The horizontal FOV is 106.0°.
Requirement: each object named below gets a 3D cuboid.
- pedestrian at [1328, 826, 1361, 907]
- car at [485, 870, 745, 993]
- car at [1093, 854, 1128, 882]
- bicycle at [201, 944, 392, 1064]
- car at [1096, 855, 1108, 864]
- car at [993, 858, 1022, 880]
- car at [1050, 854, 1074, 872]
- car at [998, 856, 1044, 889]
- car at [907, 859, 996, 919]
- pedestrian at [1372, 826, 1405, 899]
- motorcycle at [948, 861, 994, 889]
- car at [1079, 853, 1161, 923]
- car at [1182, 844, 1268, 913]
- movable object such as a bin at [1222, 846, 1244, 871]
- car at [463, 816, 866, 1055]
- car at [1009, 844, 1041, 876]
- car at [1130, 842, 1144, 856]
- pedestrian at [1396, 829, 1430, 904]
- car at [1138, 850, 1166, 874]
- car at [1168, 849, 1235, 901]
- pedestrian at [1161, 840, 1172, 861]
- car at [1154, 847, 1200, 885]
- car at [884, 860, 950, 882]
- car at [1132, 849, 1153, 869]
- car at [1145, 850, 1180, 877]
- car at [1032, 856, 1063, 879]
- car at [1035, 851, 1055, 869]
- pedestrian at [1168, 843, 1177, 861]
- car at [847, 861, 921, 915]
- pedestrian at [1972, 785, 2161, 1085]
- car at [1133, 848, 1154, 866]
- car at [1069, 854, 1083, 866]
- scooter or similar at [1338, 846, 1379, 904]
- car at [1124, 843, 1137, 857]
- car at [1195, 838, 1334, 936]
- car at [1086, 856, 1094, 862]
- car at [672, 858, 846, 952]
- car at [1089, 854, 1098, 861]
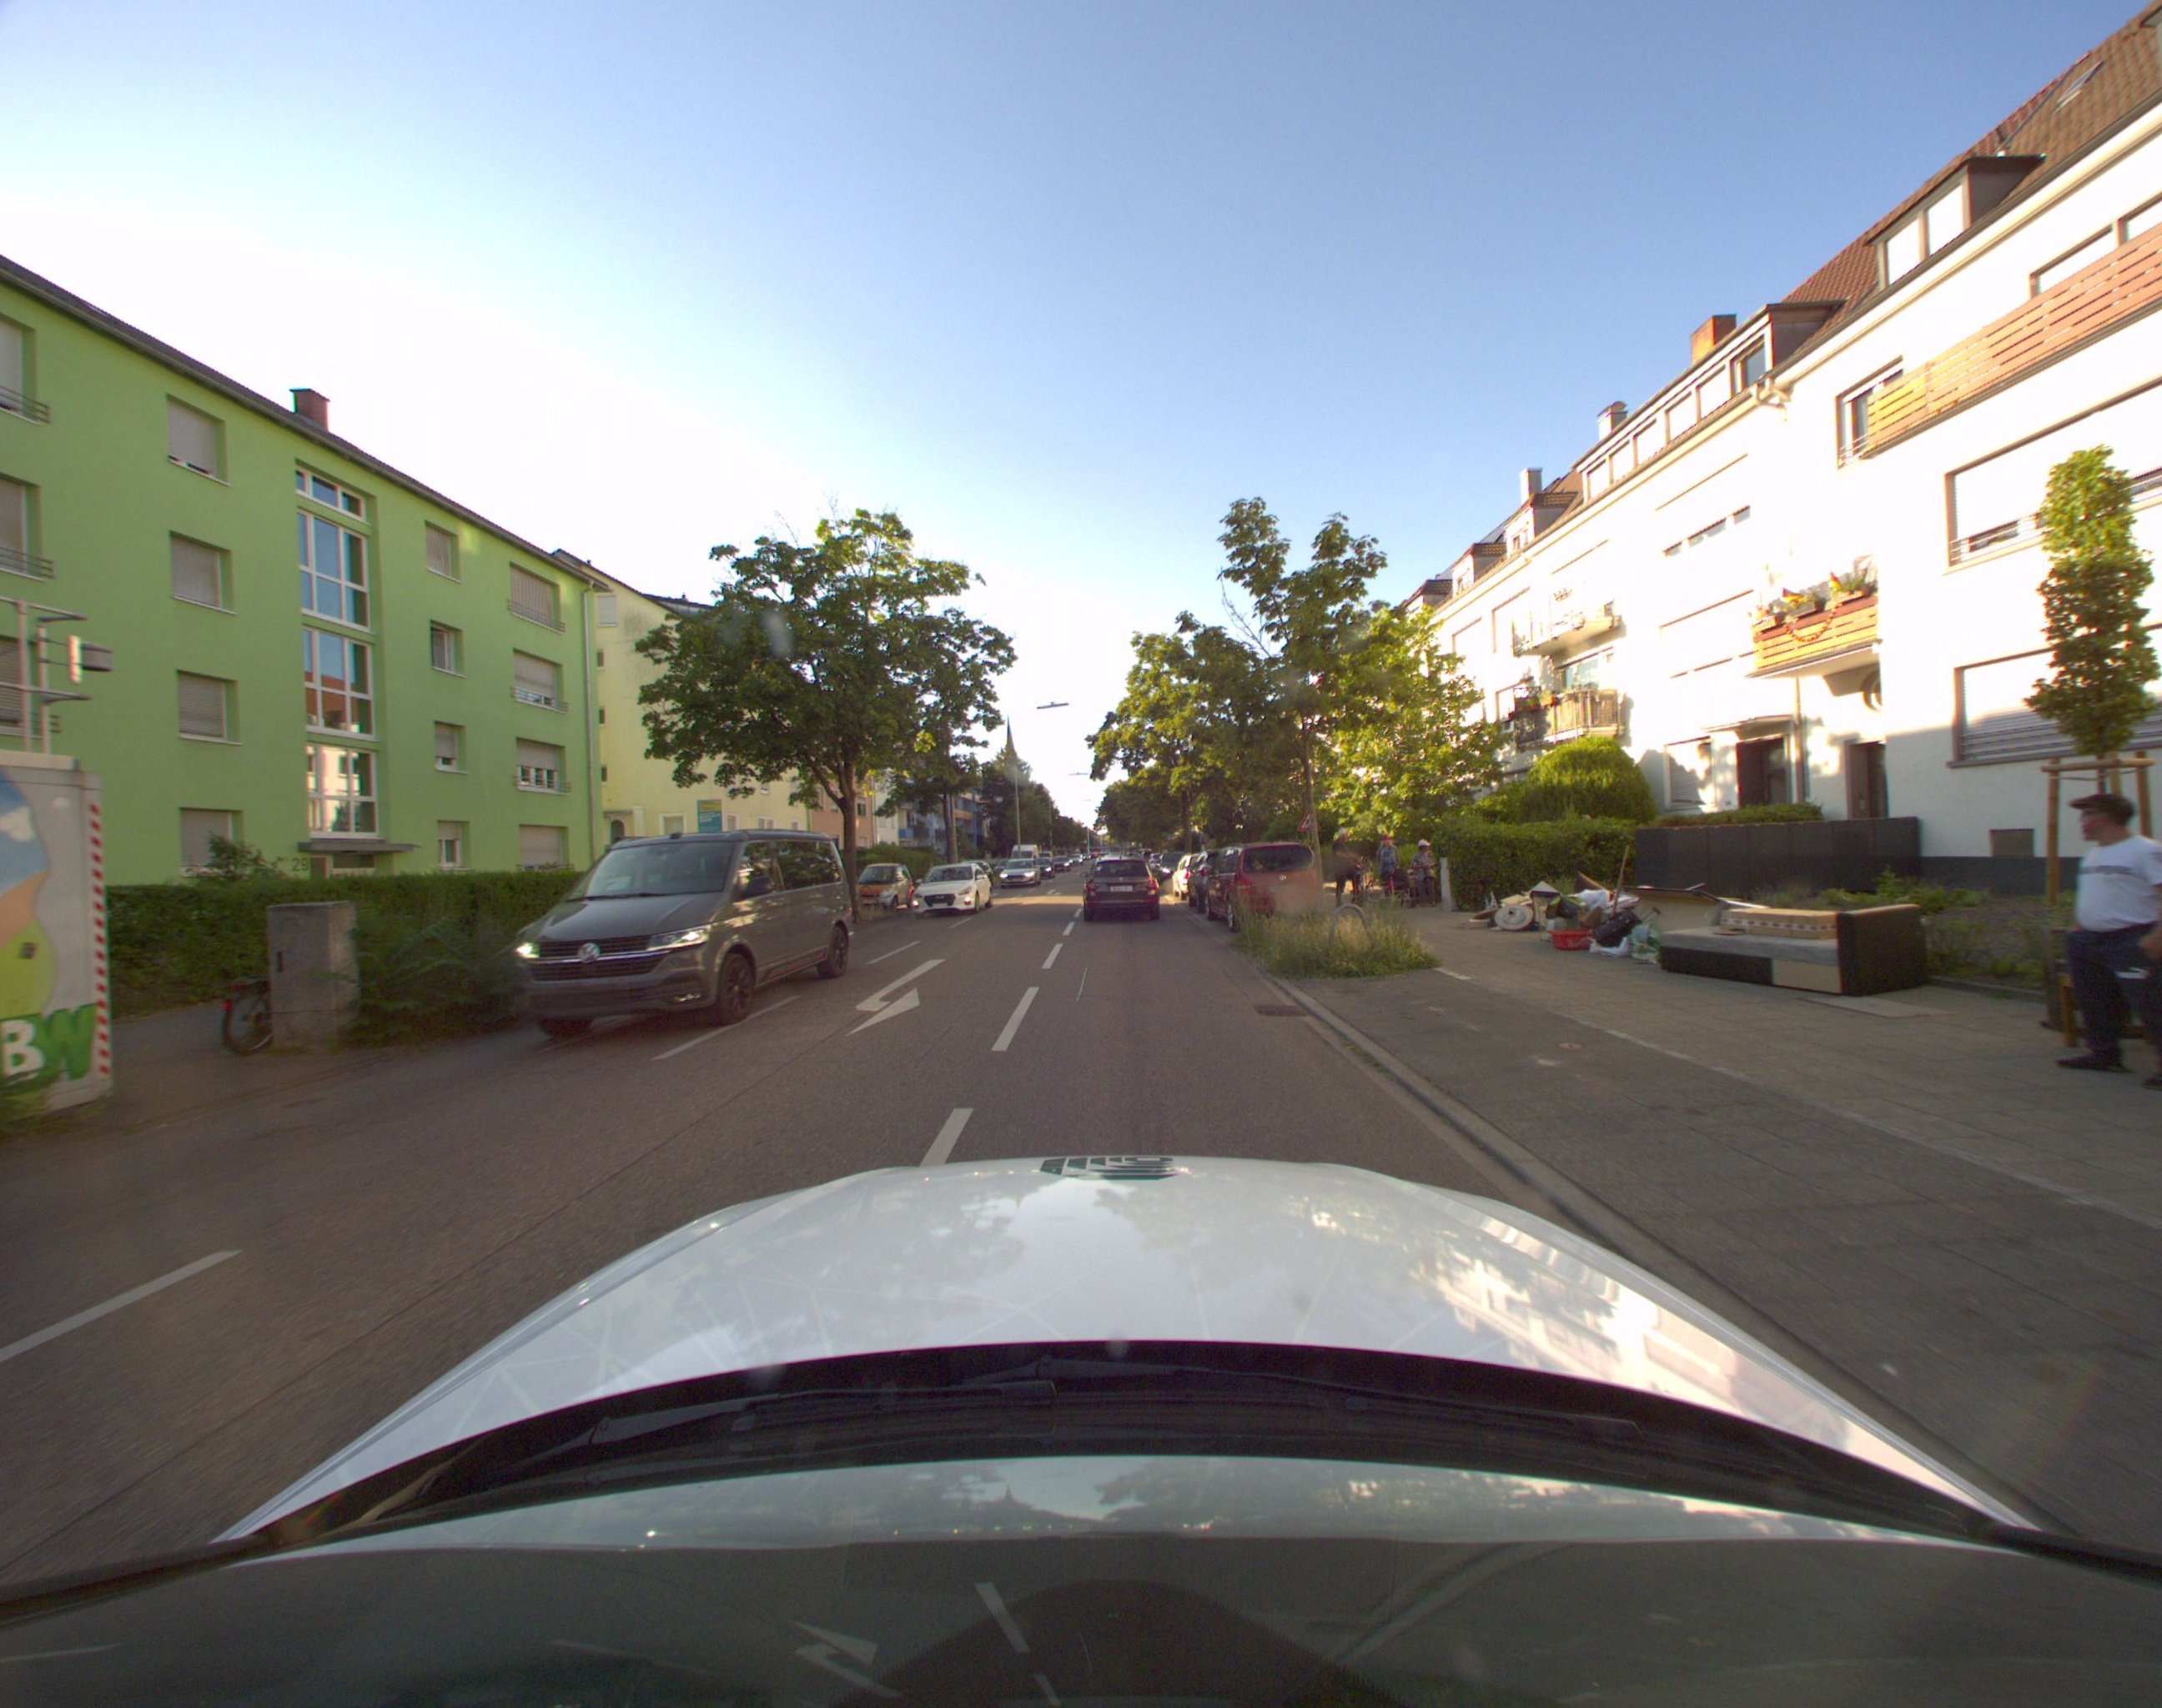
[{"bbox_3d":[6.179,0.292,19.108,0.545,1.849,0.766,-3,0,9],"label":"pedestrian"},{"bbox_3d":[-7.145,1.087,13.070,1.677,1.521,4.191,-2,0,0],"label":"car"},{"bbox_3d":[1.675,0.782,46.900,1.885,1.506,3.791,1,-1,1],"label":"car"},{"bbox_3d":[-7.455,1.388,7.831,0.370,0.861,1.543,-1,0,-2],"label":"bicycle"},{"bbox_3d":[3.454,0.880,132.173,1.776,1.480,3.969,-1,0,-1],"label":"car"},{"bbox_3d":[-5.246,1.073,58.703,1.606,1.473,3.814,0,0,2],"label":"car"},{"bbox_3d":[-1.739,0.787,75.327,1.692,1.470,4.299,-3,0,4],"label":"car"},{"bbox_3d":[-3.109,0.925,43.047,1.825,1.470,4.453,-5,0,2],"label":"car"},{"bbox_3d":[-3.717,0.966,24.125,1.810,1.446,4.110,-5,0,1],"label":"car"},{"bbox_3d":[7.316,0.191,19.411,0.509,1.697,0.526,-2,0,-3],"label":"pedestrian"},{"bbox_3d":[-5.426,1.029,40.287,2.034,1.389,0.981,0,-1,-30],"label":"motorcycle"},{"bbox_3d":[0.974,0.735,19.495,1.746,1.492,4.004,-1,0,4],"label":"car"},{"bbox_3d":[3.679,0.587,21.449,1.630,1.568,4.002,-3,0,2],"label":"car"},{"bbox_3d":[9.846,0.284,52.640,1.259,1.492,1.143,-5,0,11],"label":"movable object such as a bin"},{"bbox_3d":[-4.265,0.713,9.494,1.986,1.946,4.779,-4,0,2],"label":"car"},{"bbox_3d":[-4.765,0.501,70.069,1.986,2.616,7.107,-1,0,1],"label":"car"},{"bbox_3d":[7.266,-0.622,106.129,1.746,1.686,4.256,-1,0,4],"label":"car"},{"bbox_3d":[7.624,0.284,18.706,0.509,1.697,0.526,-2,0,-3],"label":"pedestrian"},{"bbox_3d":[4.923,0.538,56.850,1.712,1.601,4.097,-2,0,2],"label":"car"},{"bbox_3d":[3.926,0.629,27.100,1.630,1.490,4.417,-3,0,2],"label":"car"},{"bbox_3d":[7.121,-0.315,67.776,0.784,1.700,0.809,-2,-1,6],"label":"pedestrian"},{"bbox_3d":[4.525,0.541,39.056,1.866,1.581,4.825,-4,0,3],"label":"car"},{"bbox_3d":[-10.935,1.120,54.568,3.971,1.413,1.917,0,0,2],"label":"car"},{"bbox_3d":[5.600,0.468,74.059,1.747,1.662,4.256,-3,0,4],"label":"car"},{"bbox_3d":[4.871,0.566,49.248,1.712,1.494,4.395,-2,0,1],"label":"car"},{"bbox_3d":[-2.224,0.881,55.264,1.694,1.403,4.029,-4,0,2],"label":"car"},{"bbox_3d":[-4.044,0.652,93.222,1.862,2.031,5.302,-1,0,1],"label":"car"},{"bbox_3d":[9.586,-0.174,85.290,0.793,1.861,0.954,-3,0,13],"label":"pedestrian"},{"bbox_3d":[-6.536,1.100,27.262,1.492,1.616,2.865,-2,0,5],"label":"car"},{"bbox_3d":[5.802,0.421,4.648,0.557,1.568,0.744,-2,-1,-16],"label":"pedestrian"},{"bbox_3d":[6.358,0.292,83.232,1.794,1.808,4.423,-1,0,0],"label":"car"},{"bbox_3d":[-0.680,0.807,109.349,1.874,1.543,4.265,-2,0,-1],"label":"car"},{"bbox_3d":[6.494,0.484,19.067,0.742,1.317,0.722,-2,0,8],"label":"scooter or similar"},{"bbox_3d":[7.443,-0.602,122.518,1.908,1.860,5.638,-2,0,4],"label":"car"},{"bbox_3d":[3.552,0.578,16.637,1.716,1.655,4.596,-2,0,-1],"label":"car"},{"bbox_3d":[2.119,1.144,189.868,1.774,1.494,3.973,-2,0,2],"label":"car"},{"bbox_3d":[-6.916,0.999,18.098,1.776,1.733,4.620,-2,0,3],"label":"car"},{"bbox_3d":[3.280,0.982,216.949,1.989,1.750,3.995,-2,0,-3],"label":"car"}]
